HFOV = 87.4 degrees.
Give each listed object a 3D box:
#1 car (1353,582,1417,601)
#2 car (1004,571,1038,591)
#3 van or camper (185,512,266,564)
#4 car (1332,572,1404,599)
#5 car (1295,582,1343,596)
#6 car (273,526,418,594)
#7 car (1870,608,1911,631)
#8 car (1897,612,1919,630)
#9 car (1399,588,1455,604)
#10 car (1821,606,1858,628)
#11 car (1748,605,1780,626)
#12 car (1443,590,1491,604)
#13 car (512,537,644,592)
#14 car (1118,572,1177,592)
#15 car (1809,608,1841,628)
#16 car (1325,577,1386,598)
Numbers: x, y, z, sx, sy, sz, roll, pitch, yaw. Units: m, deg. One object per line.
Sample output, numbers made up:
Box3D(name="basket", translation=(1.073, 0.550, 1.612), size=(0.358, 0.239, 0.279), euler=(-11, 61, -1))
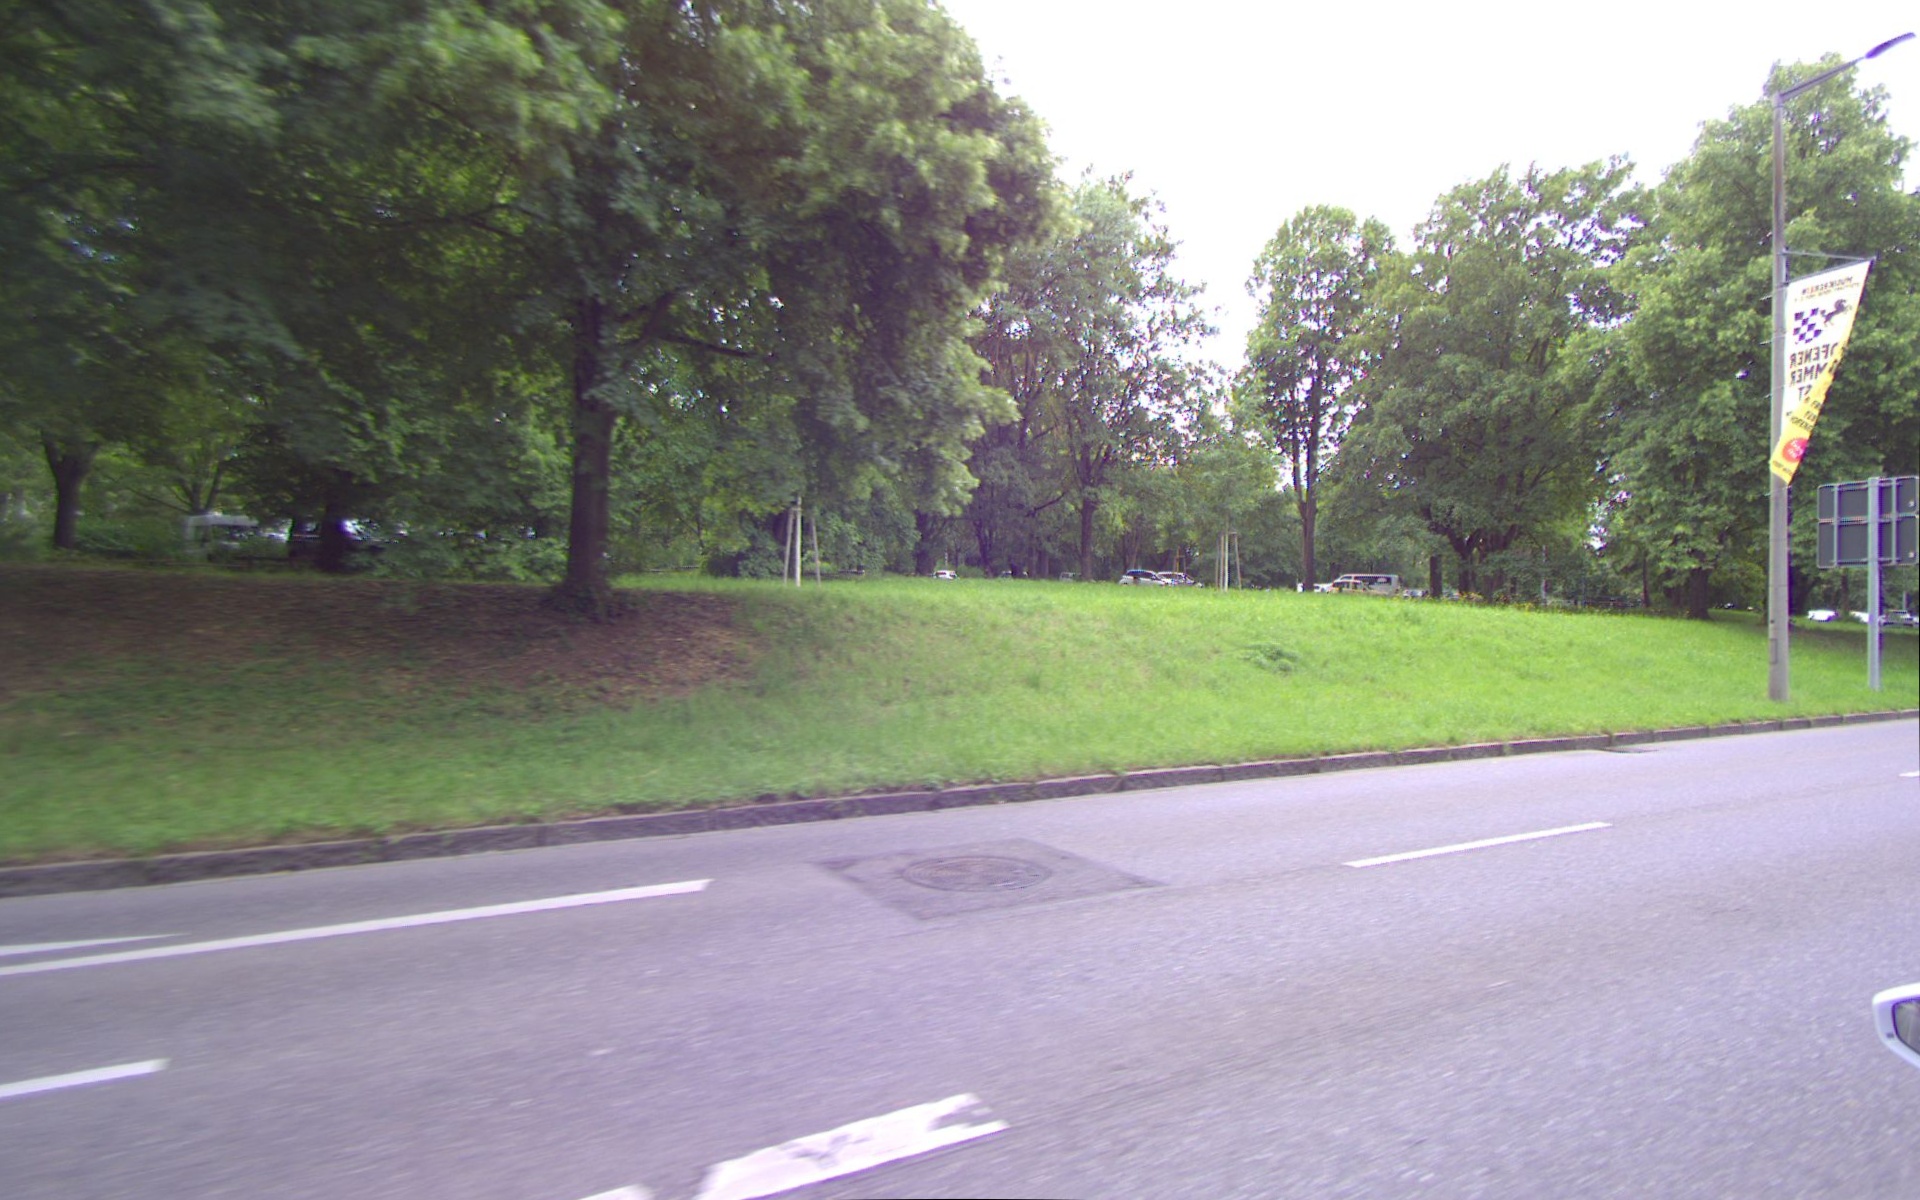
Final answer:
Box3D(name="car", translation=(30.605, -0.615, 72.293), size=(3.920, 1.226, 1.897), euler=(2, 0, 36))
Box3D(name="car", translation=(6.635, -2.033, 108.800), size=(1.872, 2.087, 3.972), euler=(2, 0, 35))
Box3D(name="van or camper", translation=(-31.770, -2.642, 43.418), size=(4.159, 2.040, 1.916), euler=(2, 0, 41))
Box3D(name="car", translation=(26.868, -0.973, 66.171), size=(4.049, 1.706, 1.747), euler=(2, 0, 37))
Box3D(name="car", translation=(34.427, -1.081, 96.320), size=(3.920, 1.226, 1.897), euler=(2, 0, 36))
Box3D(name="car", translation=(-19.191, -1.208, 31.314), size=(4.821, 1.921, 1.994), euler=(2, 0, 34))
Box3D(name="car", translation=(65.076, 1.389, 70.274), size=(1.624, 1.506, 3.986), euler=(2, 0, 36))
Box3D(name="car", translation=(84.488, 1.885, 89.047), size=(1.624, 1.506, 3.986), euler=(2, 0, 36))
Box3D(name="car", translation=(38.784, -0.361, 83.472), size=(3.920, 1.226, 1.897), euler=(2, 0, 36))
Box3D(name="car", translation=(63.454, 1.257, 72.540), size=(1.624, 1.506, 3.986), euler=(2, 0, 36))
Box3D(name="car", translation=(59.142, 1.138, 73.889), size=(1.624, 1.506, 3.986), euler=(2, 0, 36))
Box3D(name="car", translation=(49.364, -0.269, 97.738), size=(3.920, 1.226, 1.897), euler=(2, 0, 36))
Box3D(name="car", translation=(-14.624, -1.348, 38.366), size=(4.821, 1.921, 2.314), euler=(2, 0, 34))
Box3D(name="car", translation=(12.131, -1.163, 65.088), size=(3.449, 1.250, 1.396), euler=(2, 0, 33))
Box3D(name="car", translation=(69.513, 1.445, 80.763), size=(1.624, 1.506, 3.986), euler=(2, 0, 36))
Box3D(name="car", translation=(25.215, -0.784, 64.072), size=(3.449, 1.226, 1.396), euler=(2, 0, 33))
